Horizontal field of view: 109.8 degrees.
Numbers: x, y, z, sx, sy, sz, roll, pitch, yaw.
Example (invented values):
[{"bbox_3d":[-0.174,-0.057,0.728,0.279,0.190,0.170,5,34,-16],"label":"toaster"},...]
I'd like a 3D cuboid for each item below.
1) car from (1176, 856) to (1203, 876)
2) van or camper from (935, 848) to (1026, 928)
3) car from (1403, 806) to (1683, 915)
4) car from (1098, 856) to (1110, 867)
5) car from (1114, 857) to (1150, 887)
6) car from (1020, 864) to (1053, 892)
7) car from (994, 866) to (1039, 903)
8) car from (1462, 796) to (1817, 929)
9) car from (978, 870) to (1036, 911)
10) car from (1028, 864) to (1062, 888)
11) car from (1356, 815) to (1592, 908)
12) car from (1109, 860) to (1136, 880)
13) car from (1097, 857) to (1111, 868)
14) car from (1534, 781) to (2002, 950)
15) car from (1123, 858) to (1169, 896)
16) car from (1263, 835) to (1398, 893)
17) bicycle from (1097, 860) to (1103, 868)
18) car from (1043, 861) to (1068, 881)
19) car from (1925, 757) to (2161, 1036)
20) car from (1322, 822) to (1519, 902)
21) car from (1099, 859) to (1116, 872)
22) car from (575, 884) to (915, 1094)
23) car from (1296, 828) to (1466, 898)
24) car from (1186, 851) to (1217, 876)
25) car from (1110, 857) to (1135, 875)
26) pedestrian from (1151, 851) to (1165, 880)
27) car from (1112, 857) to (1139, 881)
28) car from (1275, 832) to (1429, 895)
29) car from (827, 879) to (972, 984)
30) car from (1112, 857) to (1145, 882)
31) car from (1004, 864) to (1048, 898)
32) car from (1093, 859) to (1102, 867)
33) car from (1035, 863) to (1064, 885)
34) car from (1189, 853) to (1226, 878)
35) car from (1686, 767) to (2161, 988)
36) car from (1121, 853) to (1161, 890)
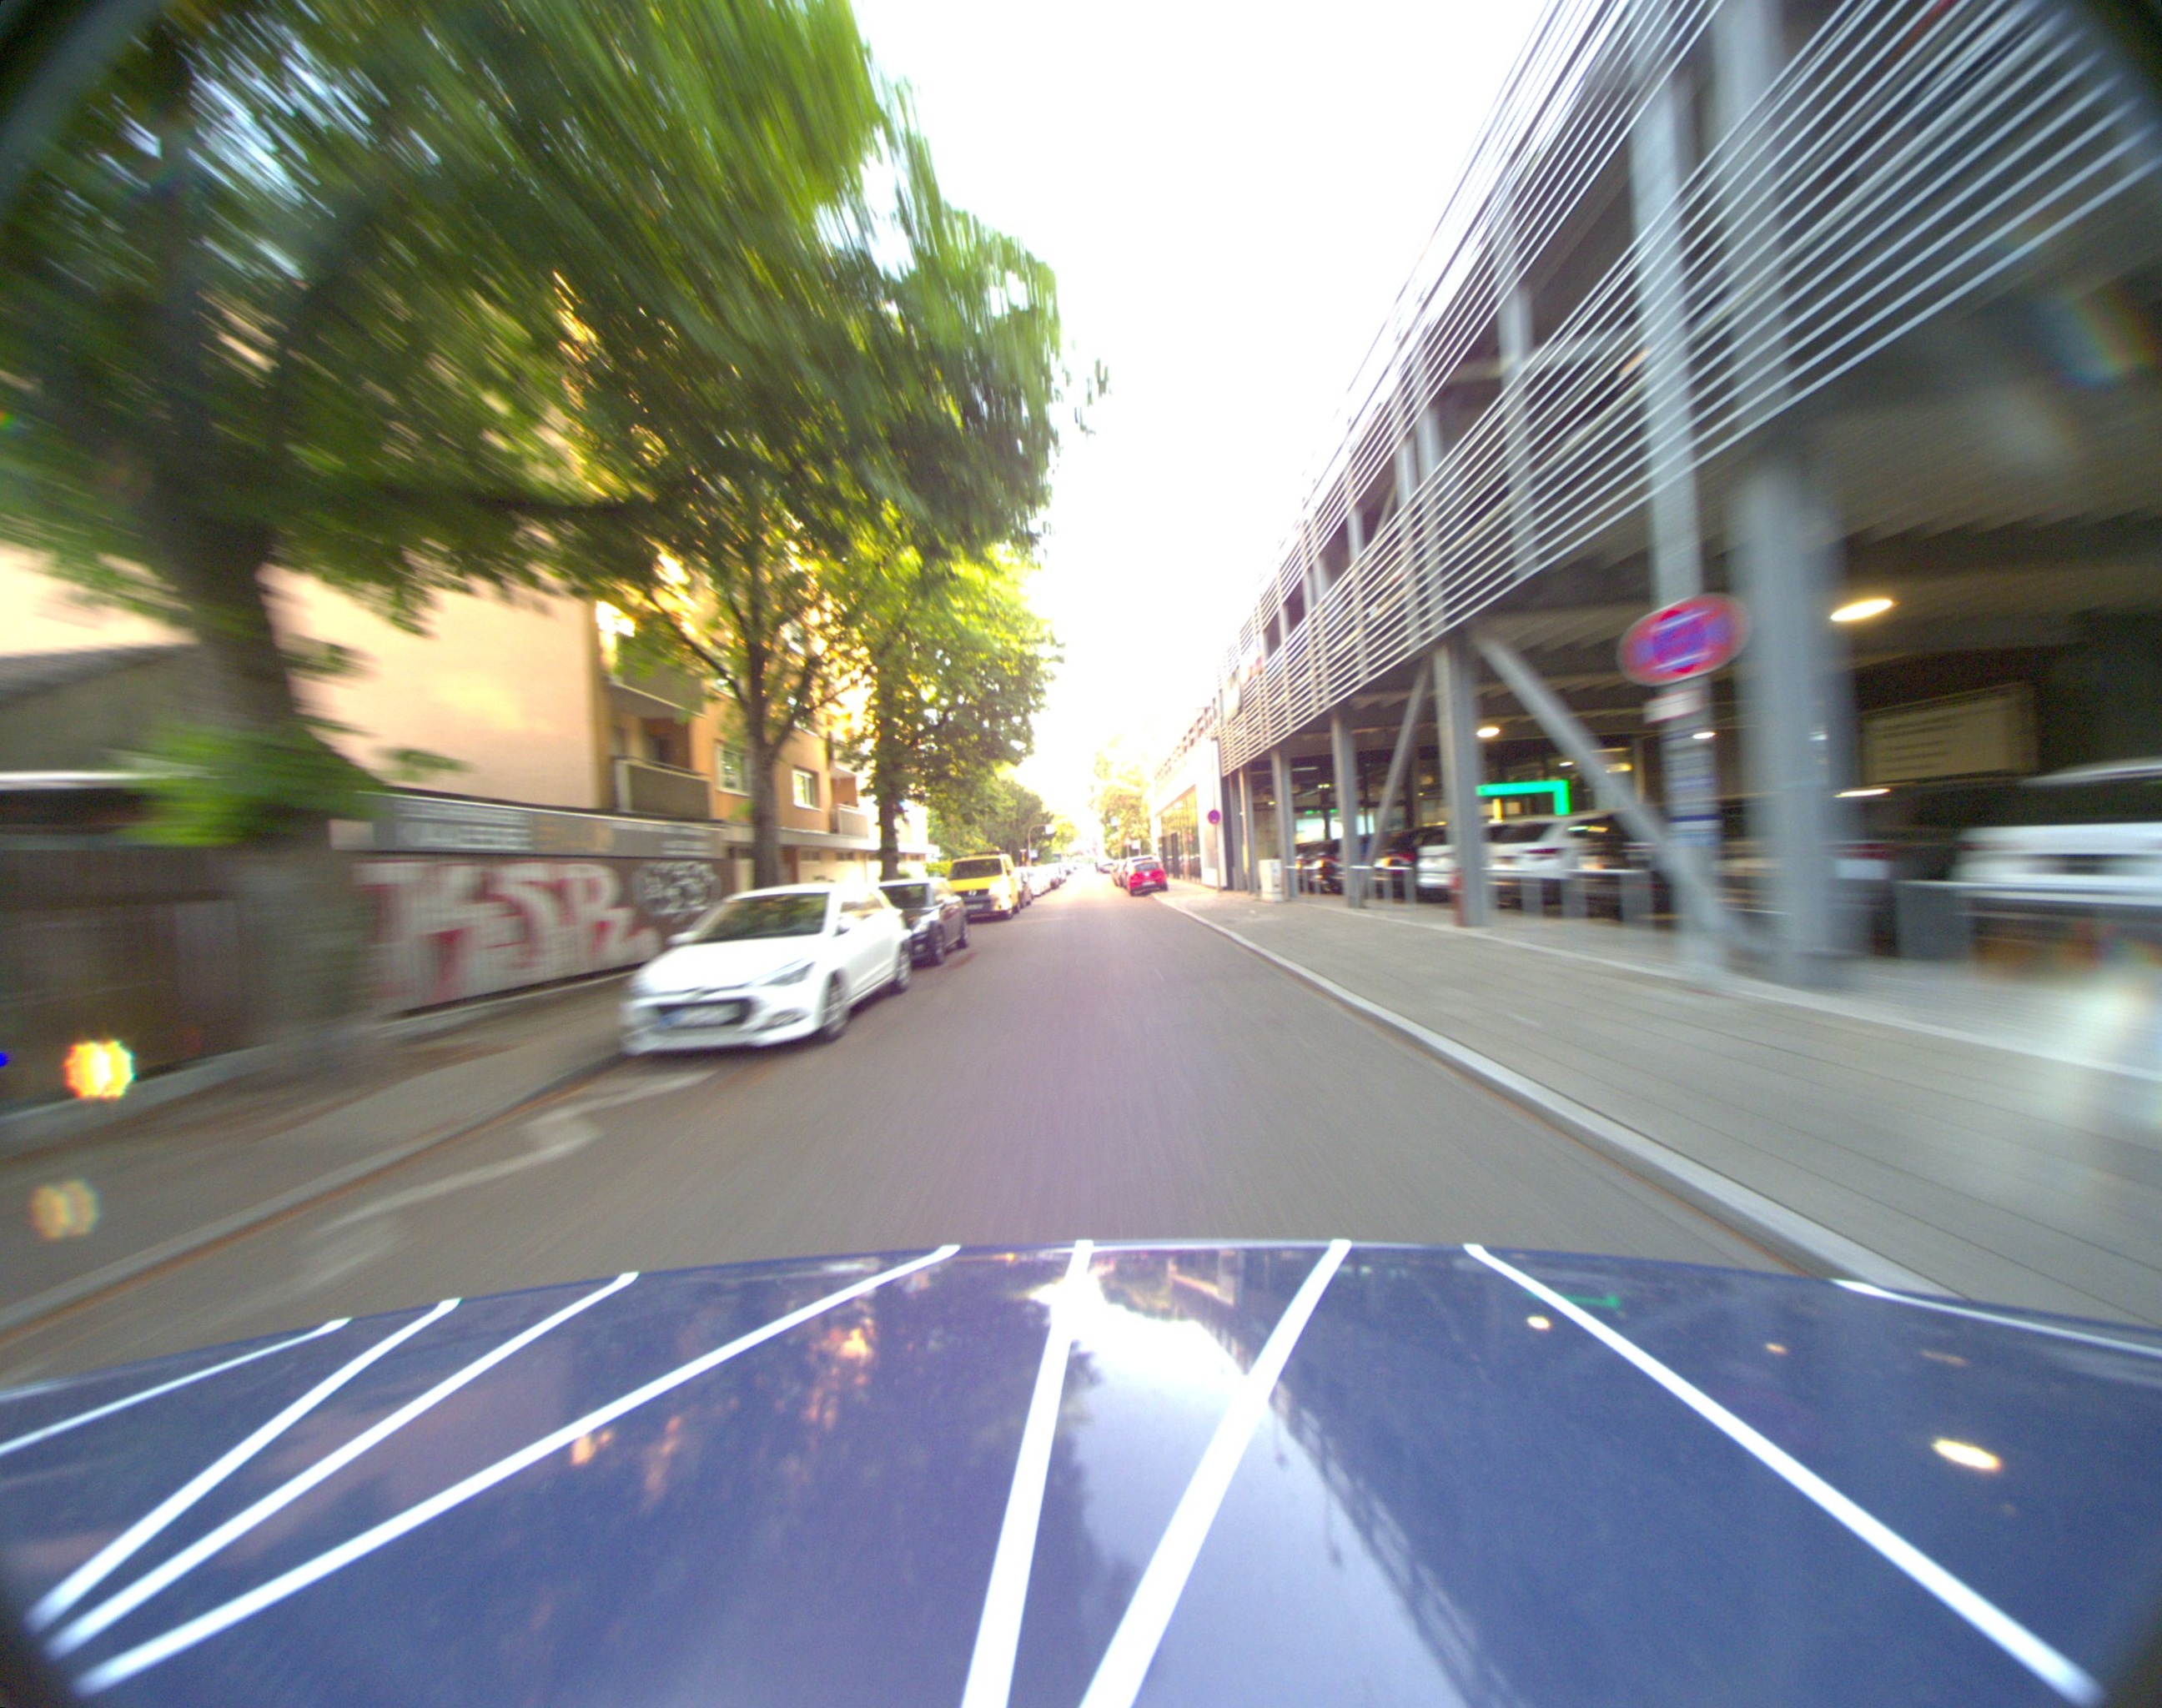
[{"bbox_3d":[8.772,0.952,61.898,1.597,1.513,3.877,-3,-1,0],"label":"car"},{"bbox_3d":[-2.965,0.988,23.555,2.069,2.083,5.091,-4,-1,0],"label":"van or camper"},{"bbox_3d":[8.542,0.137,14.356,4.035,1.673,1.861,-4,-1,2],"label":"car"},{"bbox_3d":[4.415,1.464,146.802,1.964,1.825,3.884,-9,-1,-2],"label":"car"},{"bbox_3d":[3.026,1.071,45.904,1.942,1.587,4.206,-4,-1,2],"label":"car"},{"bbox_3d":[-2.553,1.373,44.392,1.613,1.452,4.054,-3,-1,1],"label":"car"},{"bbox_3d":[-2.869,1.319,34.235,1.613,1.501,3.478,-3,-1,1],"label":"car"},{"bbox_3d":[8.552,0.149,11.960,4.093,1.673,1.861,-4,-1,2],"label":"car"},{"bbox_3d":[-2.756,1.340,29.165,1.610,1.373,4.001,-4,-1,2],"label":"car"},{"bbox_3d":[-2.279,1.392,49.208,1.814,1.408,4.626,-3,-1,1],"label":"car"},{"bbox_3d":[8.528,0.180,16.794,4.159,1.673,1.861,-4,-1,2],"label":"car"},{"bbox_3d":[3.345,1.304,61.936,1.666,1.402,3.927,-9,-1,-3],"label":"car"},{"bbox_3d":[3.696,1.378,120.325,1.786,1.562,3.884,-9,-1,-2],"label":"car"},{"bbox_3d":[8.415,0.156,9.651,4.113,1.673,1.861,-4,-1,2],"label":"car"},{"bbox_3d":[2.859,0.993,34.034,1.702,1.497,3.791,-3,-1,1],"label":"car"},{"bbox_3d":[8.616,0.356,26.526,4.052,1.673,1.861,-4,-1,2],"label":"car"},{"bbox_3d":[2.864,1.534,115.216,0.761,1.090,1.864,-2,0,-2],"label":"bicycle"},{"bbox_3d":[-2.120,1.419,64.594,1.814,1.566,3.885,-3,-1,1],"label":"car"},{"bbox_3d":[8.505,0.136,4.788,4.113,1.673,1.861,-4,-1,2],"label":"car"},{"bbox_3d":[8.438,0.207,19.159,4.045,1.673,1.861,-4,-1,2],"label":"car"},{"bbox_3d":[3.471,1.508,100.321,1.786,1.442,3.884,-9,-1,-2],"label":"car"},{"bbox_3d":[-3.133,1.159,8.101,1.726,1.510,4.026,-4,-1,0],"label":"car"},{"bbox_3d":[8.482,0.260,21.753,4.045,1.673,1.861,-4,-1,2],"label":"car"},{"bbox_3d":[8.798,0.699,55.572,1.597,1.640,3.877,-3,-1,0],"label":"car"},{"bbox_3d":[3.877,1.160,72.128,1.666,1.505,3.883,-7,-1,-5],"label":"car"},{"bbox_3d":[5.120,0.758,50.480,0.722,1.867,0.620,-4,-1,2],"label":"pedestrian"},{"bbox_3d":[3.209,1.060,55.820,1.666,1.488,3.885,-9,-1,2],"label":"car"},{"bbox_3d":[8.514,0.311,24.156,4.176,1.673,1.861,-4,-1,2],"label":"car"},{"bbox_3d":[-2.986,1.223,13.155,1.567,1.441,3.454,-4,-1,0],"label":"car"},{"bbox_3d":[3.148,1.020,51.144,1.733,1.394,4.007,-9,-1,0],"label":"car"},{"bbox_3d":[-2.744,1.329,38.932,1.796,1.553,4.194,-3,-1,1],"label":"car"},{"bbox_3d":[3.918,2.256,183.159,1.786,1.772,4.012,-3,-1,-2],"label":"car"},{"bbox_3d":[-2.246,1.400,54.997,1.814,1.408,3.896,-3,-1,1],"label":"car"},{"bbox_3d":[8.428,0.761,50.930,1.702,1.505,4.192,-3,-1,1],"label":"car"},{"bbox_3d":[8.593,0.165,7.189,4.113,1.673,1.861,-4,-1,2],"label":"car"},{"bbox_3d":[3.049,0.888,39.433,1.702,1.745,4.404,-3,-1,1],"label":"car"}]
